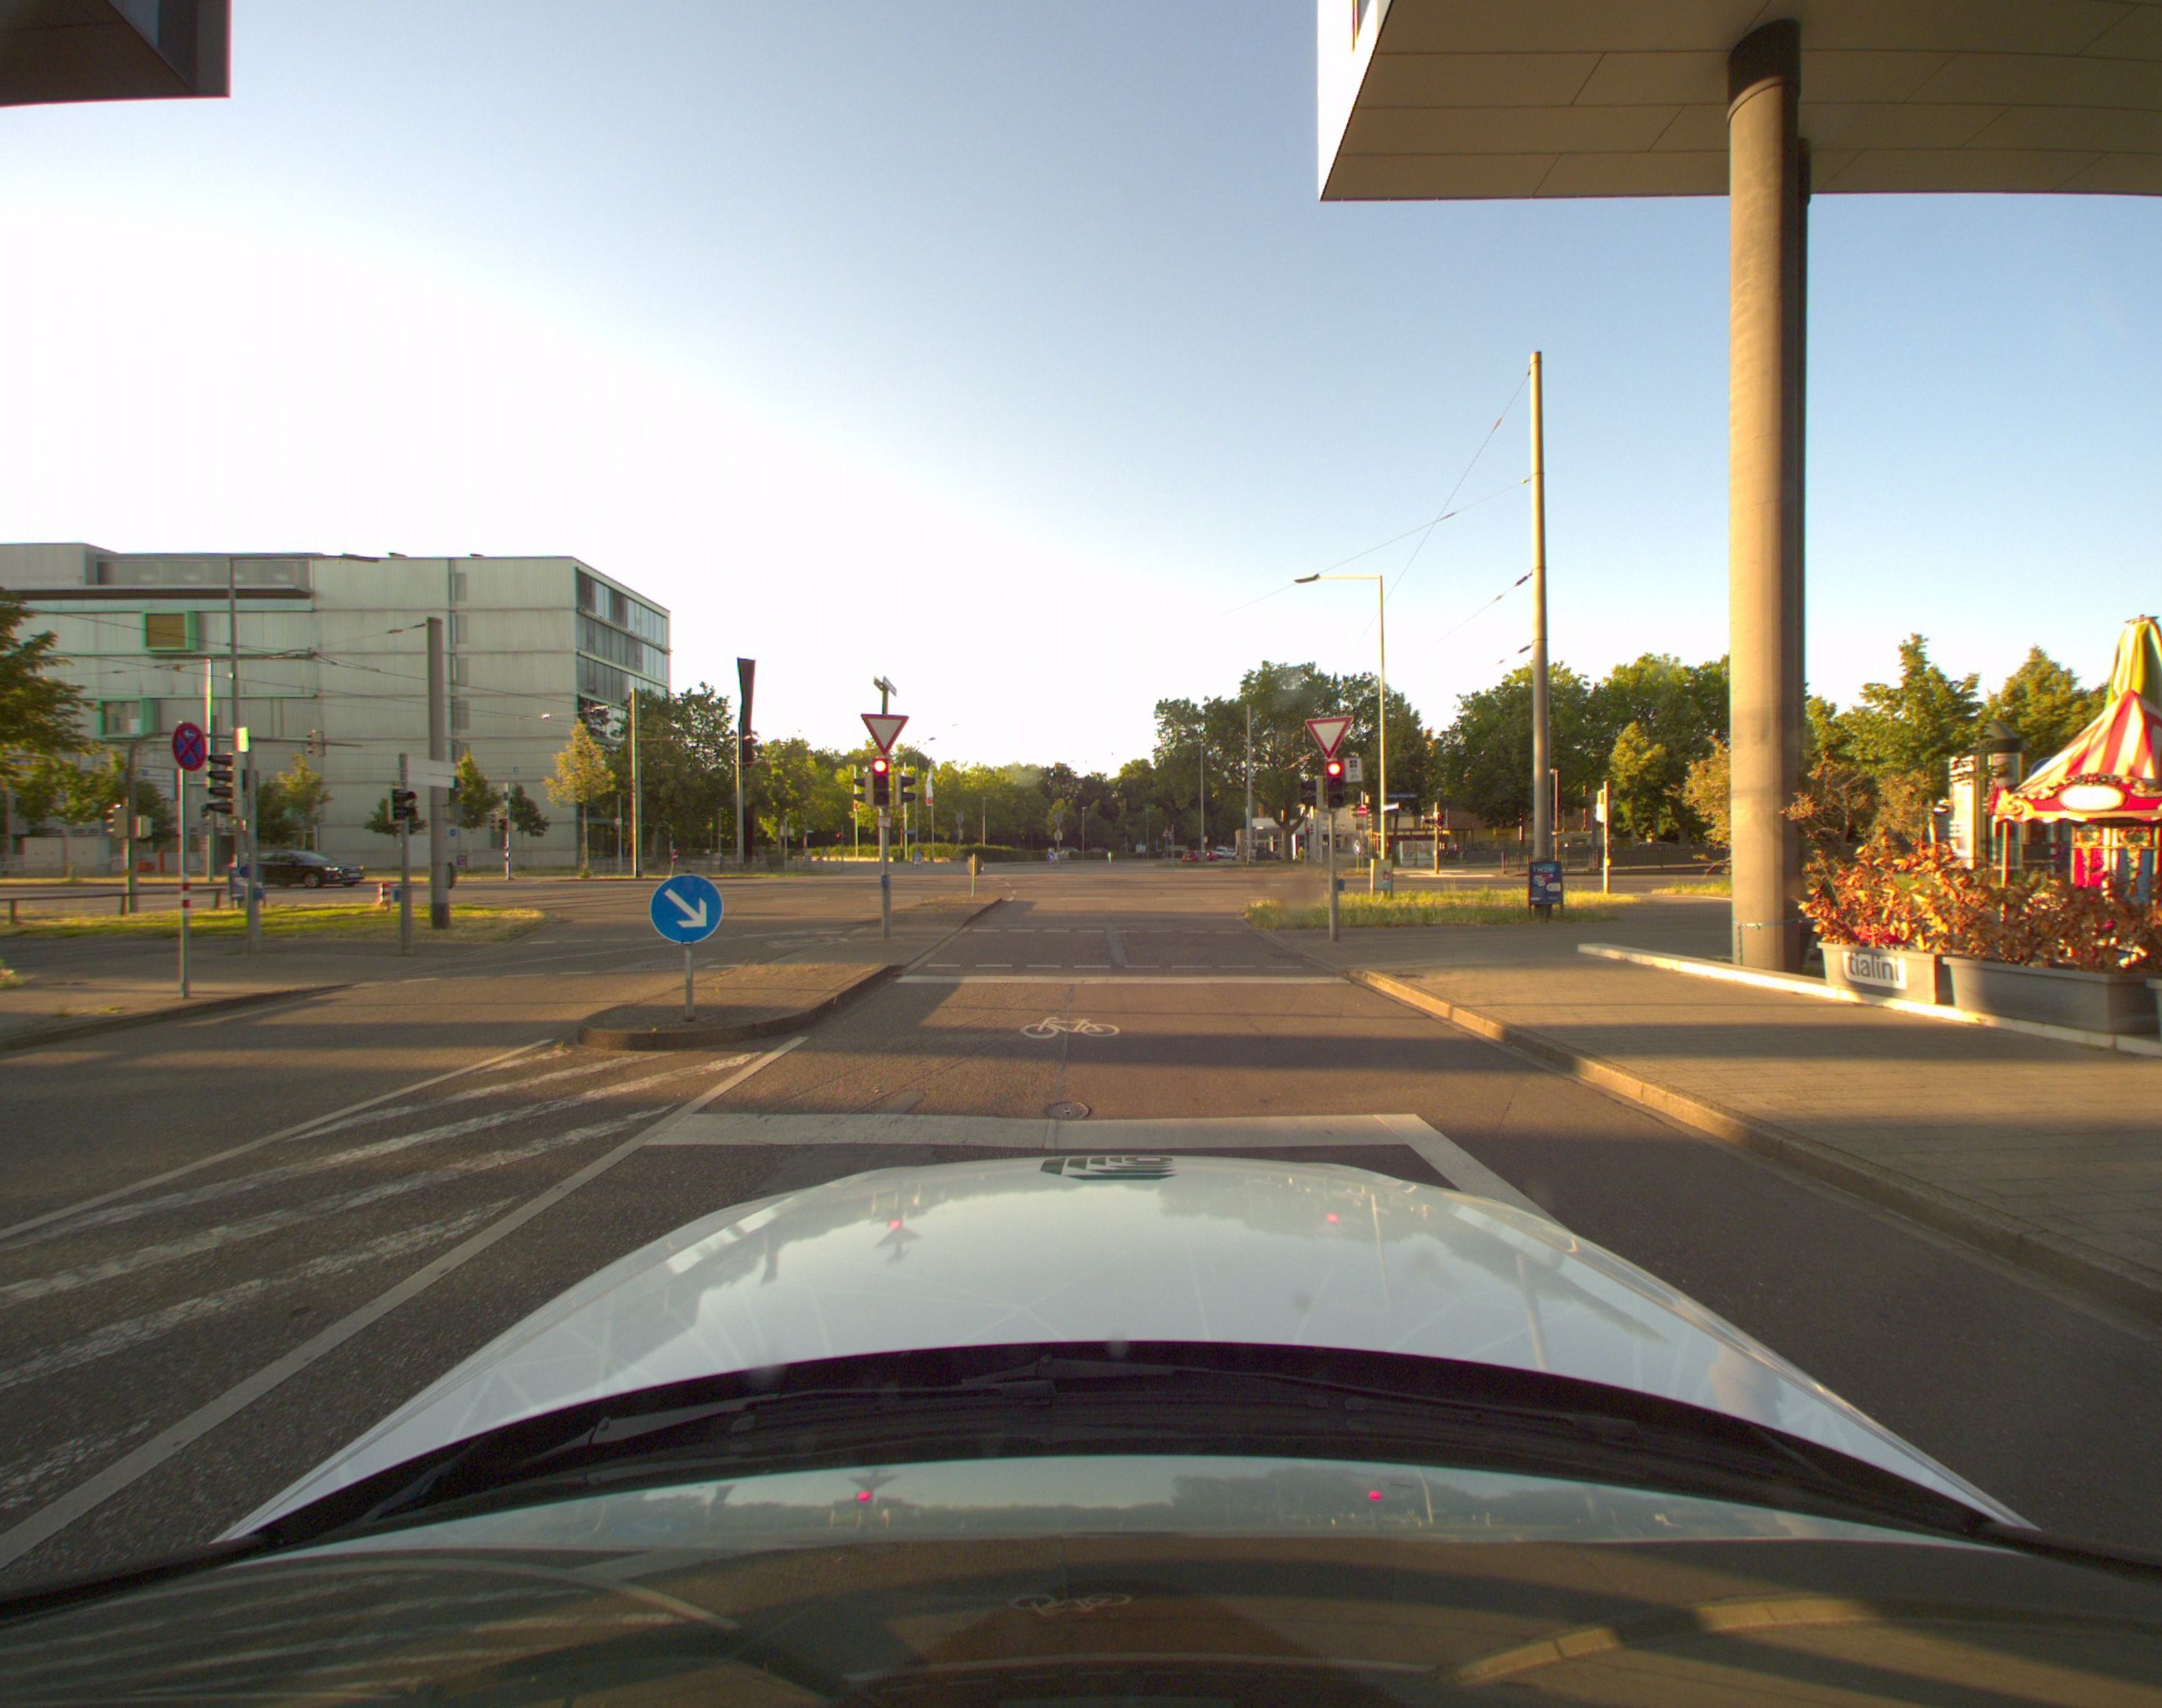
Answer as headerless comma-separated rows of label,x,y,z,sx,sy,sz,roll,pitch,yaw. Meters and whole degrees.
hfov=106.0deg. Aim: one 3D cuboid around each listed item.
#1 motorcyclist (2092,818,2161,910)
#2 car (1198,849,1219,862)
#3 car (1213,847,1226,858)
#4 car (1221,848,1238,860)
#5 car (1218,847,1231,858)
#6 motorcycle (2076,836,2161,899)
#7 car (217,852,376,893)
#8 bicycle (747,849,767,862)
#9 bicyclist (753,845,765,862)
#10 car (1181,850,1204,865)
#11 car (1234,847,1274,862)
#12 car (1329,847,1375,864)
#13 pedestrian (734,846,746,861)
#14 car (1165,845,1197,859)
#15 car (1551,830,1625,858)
motorcyclist,20.541,0.177,15.844,0.896,1.746,0.676,-1,0,2
car,16.172,0.221,103.178,1.978,1.662,4.018,-1,-1,17
car,22.229,-0.248,130.879,1.850,1.794,4.013,-1,-1,12
car,21.050,0.004,115.299,1.978,1.662,4.018,-1,-1,17
car,23.892,-0.256,135.737,1.849,1.794,4.015,-1,-1,14
motorcycle,20.403,0.256,15.868,1.305,1.188,0.567,-1,0,2
car,-32.531,0.744,33.885,4.467,1.557,1.986,-1,0,-4
bicycle,-32.389,0.154,81.420,2.656,1.341,0.737,0,0,42
bicyclist,-32.124,-0.048,81.224,0.908,1.709,0.758,-1,0,42
car,13.070,0.384,95.557,1.978,1.662,4.018,-1,-1,17
car,18.890,0.023,88.899,4.194,1.552,2.005,-1,-1,9
car,23.860,0.105,71.798,3.715,1.440,1.669,-1,-1,11
pedestrian,-37.742,-0.054,90.090,0.852,1.744,0.835,0,0,30
car,15.376,-0.331,125.727,4.753,2.006,2.002,-1,-1,3
car,47.894,-0.979,77.049,5.561,2.551,2.235,-1,0,9
